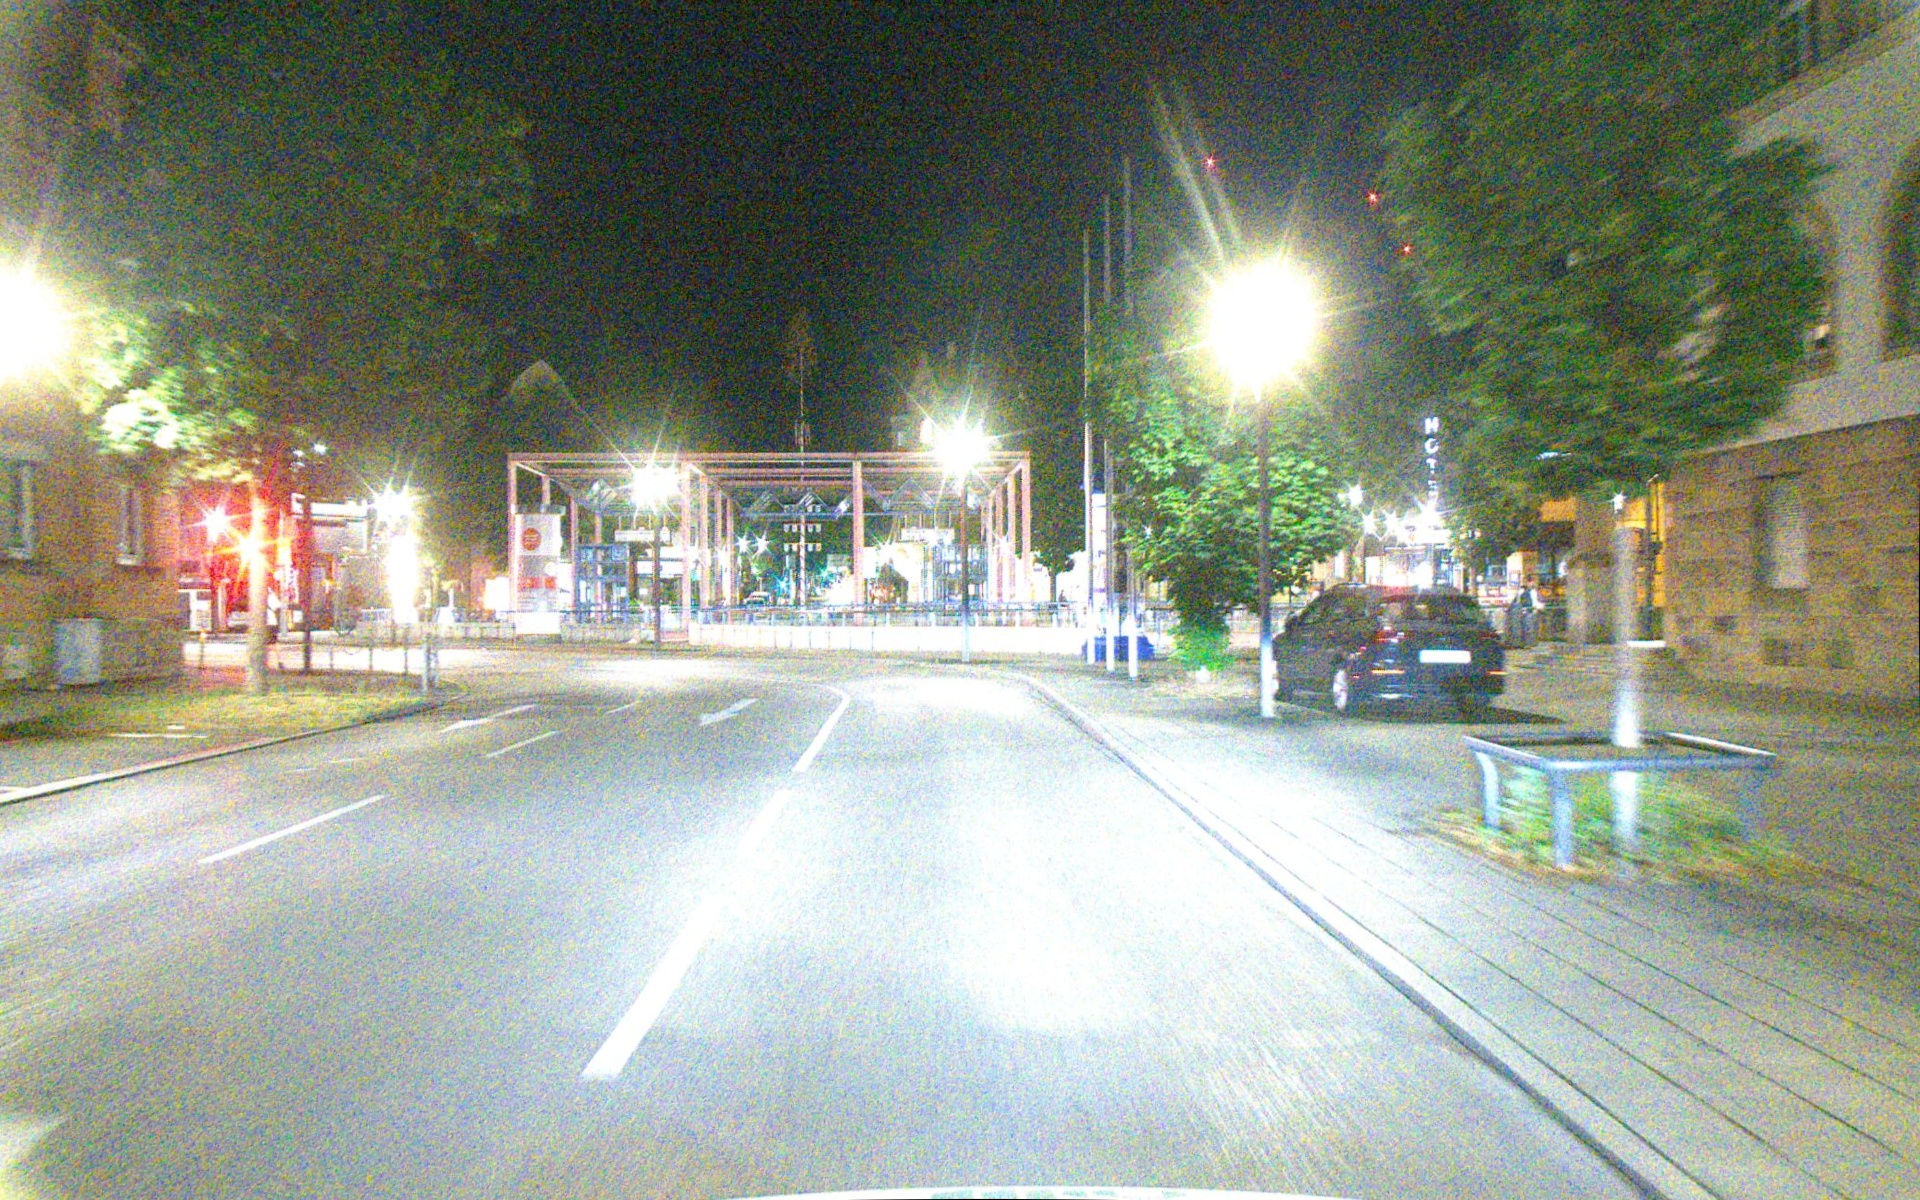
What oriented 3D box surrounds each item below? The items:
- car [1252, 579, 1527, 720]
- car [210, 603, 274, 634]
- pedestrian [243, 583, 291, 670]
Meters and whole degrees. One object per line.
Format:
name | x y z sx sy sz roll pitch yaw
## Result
car | 4.986 0.518 19.916 1.700 1.485 4.722 0 0 -5
car | -38.861 0.979 89.485 1.986 1.601 3.594 -1 0 -45
pedestrian | -15.013 0.580 35.828 0.680 1.854 0.721 -1 -2 42
